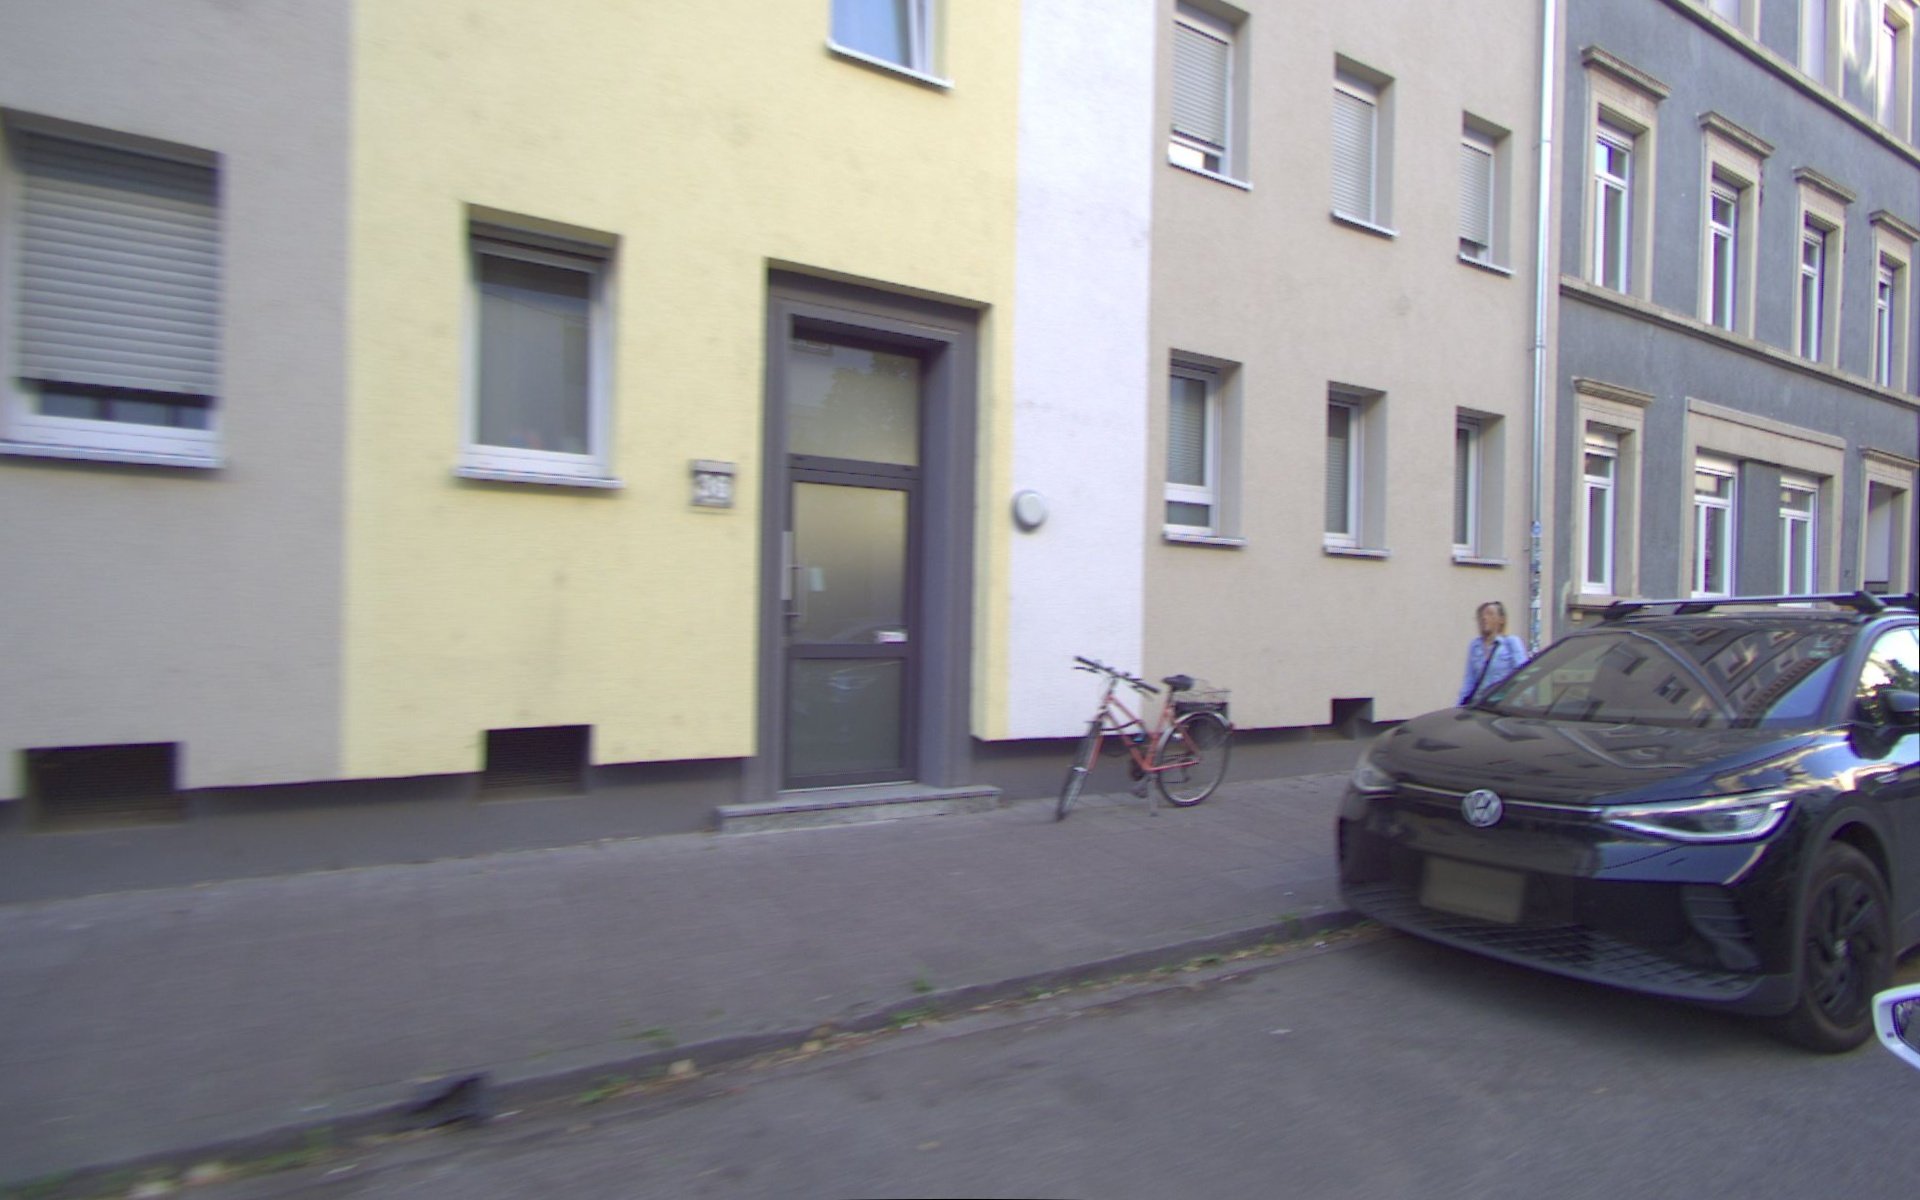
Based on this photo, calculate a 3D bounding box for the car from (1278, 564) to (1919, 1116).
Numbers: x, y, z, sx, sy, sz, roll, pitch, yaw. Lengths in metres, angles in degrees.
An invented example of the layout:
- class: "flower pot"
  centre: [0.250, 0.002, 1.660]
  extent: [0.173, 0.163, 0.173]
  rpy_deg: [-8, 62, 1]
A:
- class: "car"
  centre: [3.876, 0.806, 5.077]
  extent: [4.418, 1.685, 1.911]
  rpy_deg: [1, -3, -32]

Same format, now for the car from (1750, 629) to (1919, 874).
- class: "car"
  centre: [8.009, 1.010, 7.541]
  extent: [4.219, 1.580, 1.911]
  rpy_deg: [1, -3, -32]

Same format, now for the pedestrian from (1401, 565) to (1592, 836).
- class: "pedestrian"
  centre: [3.925, 0.696, 7.364]
  extent: [1.079, 1.814, 0.785]
  rpy_deg: [2, -2, -30]

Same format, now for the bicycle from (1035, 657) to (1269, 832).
- class: "bicycle"
  centre: [1.381, 0.964, 7.072]
  extent: [1.731, 1.088, 0.448]
  rpy_deg: [2, 0, -30]
